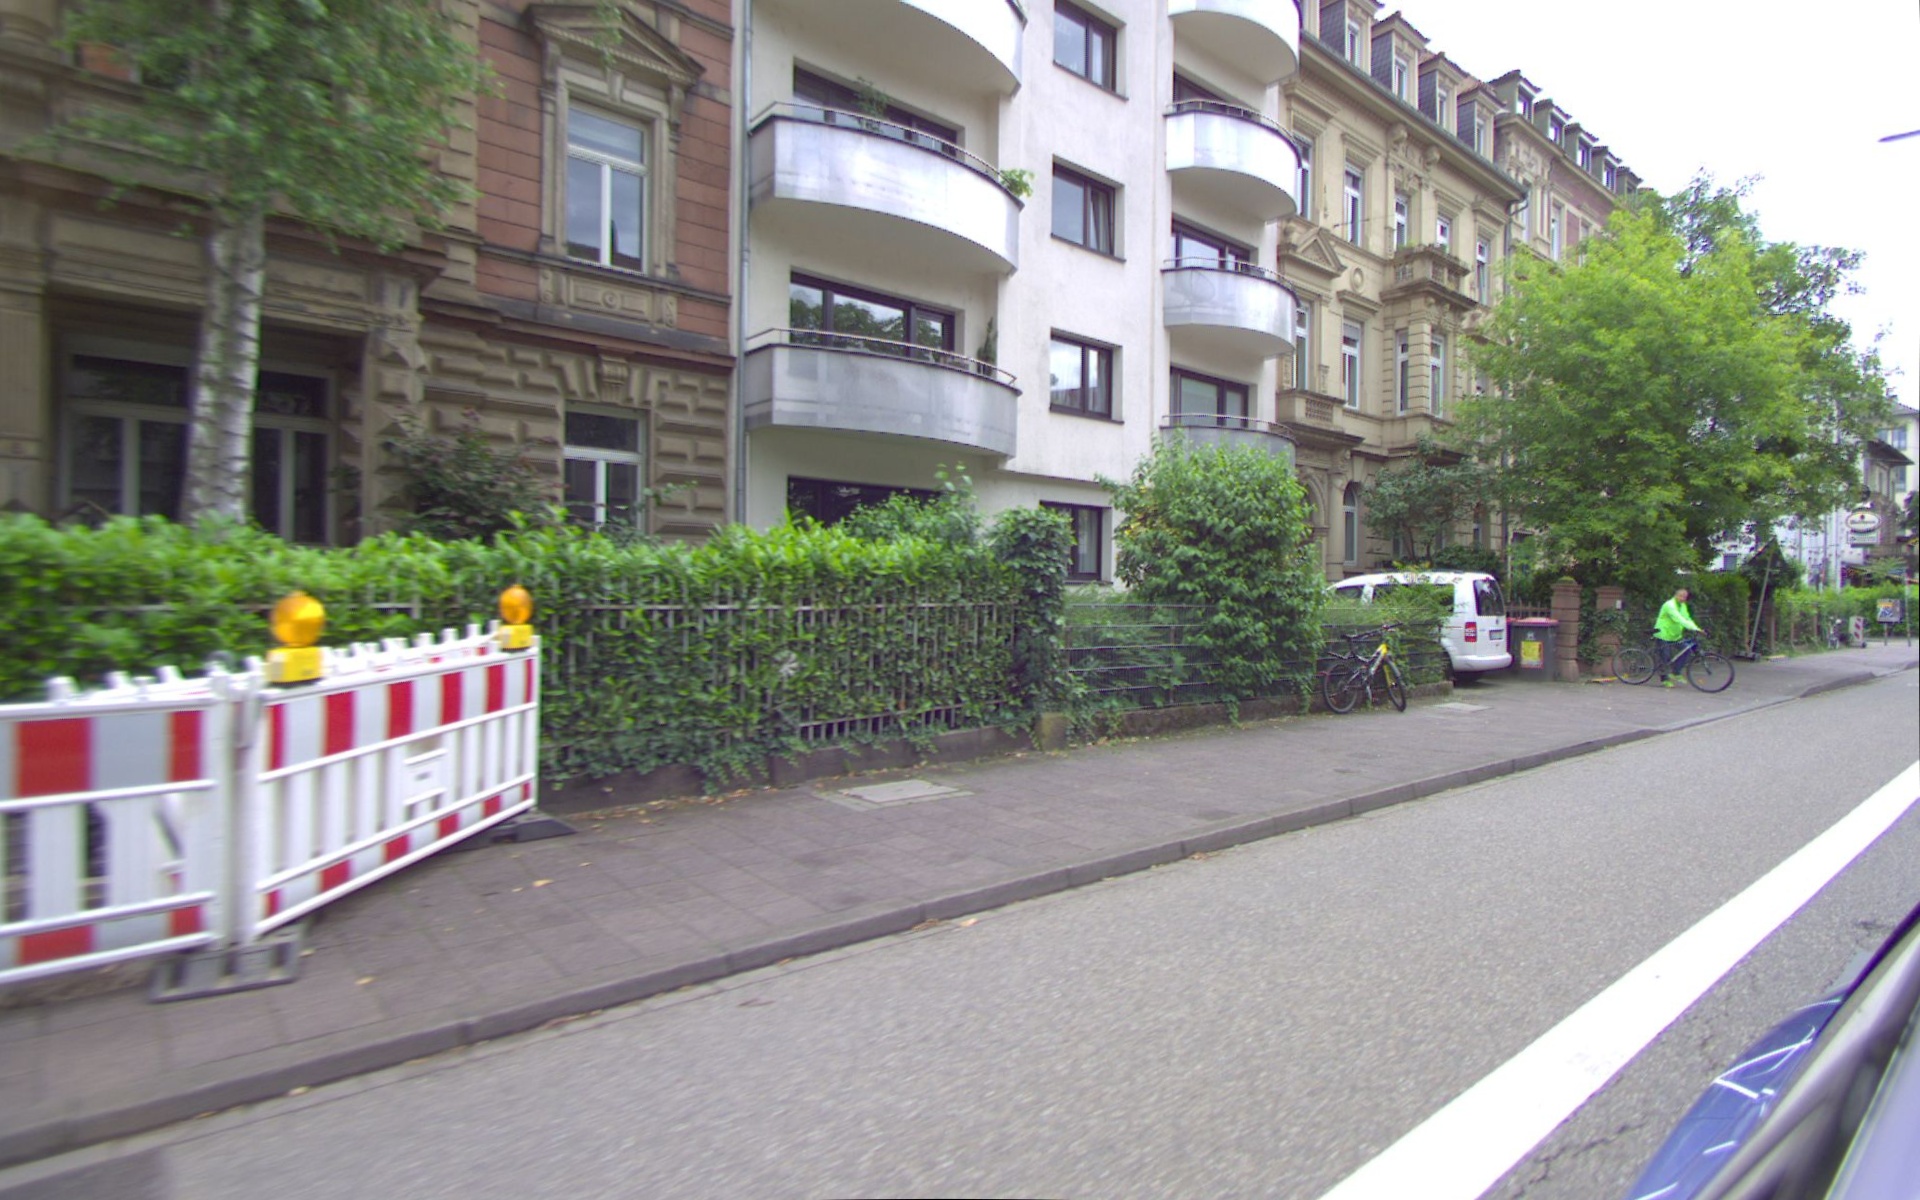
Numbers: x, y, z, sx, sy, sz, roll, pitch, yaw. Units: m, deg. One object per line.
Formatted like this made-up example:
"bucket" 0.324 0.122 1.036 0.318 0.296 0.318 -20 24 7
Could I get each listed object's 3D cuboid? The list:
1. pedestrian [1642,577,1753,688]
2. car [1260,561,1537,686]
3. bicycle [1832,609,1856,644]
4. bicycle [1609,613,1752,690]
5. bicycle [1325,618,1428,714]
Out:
"pedestrian" 12.622 0.527 17.332 1.000 1.753 1.231 1 3 -41
"car" 7.405 0.302 17.388 1.776 1.881 3.996 0 1 -39
"bicycle" 27.761 0.810 31.768 1.816 1.055 0.302 0 0 -41
"bicycle" 12.280 0.843 17.302 0.596 1.089 1.845 1 4 -41
"bicycle" 5.062 0.766 12.261 1.504 1.058 0.480 0 2 -40
